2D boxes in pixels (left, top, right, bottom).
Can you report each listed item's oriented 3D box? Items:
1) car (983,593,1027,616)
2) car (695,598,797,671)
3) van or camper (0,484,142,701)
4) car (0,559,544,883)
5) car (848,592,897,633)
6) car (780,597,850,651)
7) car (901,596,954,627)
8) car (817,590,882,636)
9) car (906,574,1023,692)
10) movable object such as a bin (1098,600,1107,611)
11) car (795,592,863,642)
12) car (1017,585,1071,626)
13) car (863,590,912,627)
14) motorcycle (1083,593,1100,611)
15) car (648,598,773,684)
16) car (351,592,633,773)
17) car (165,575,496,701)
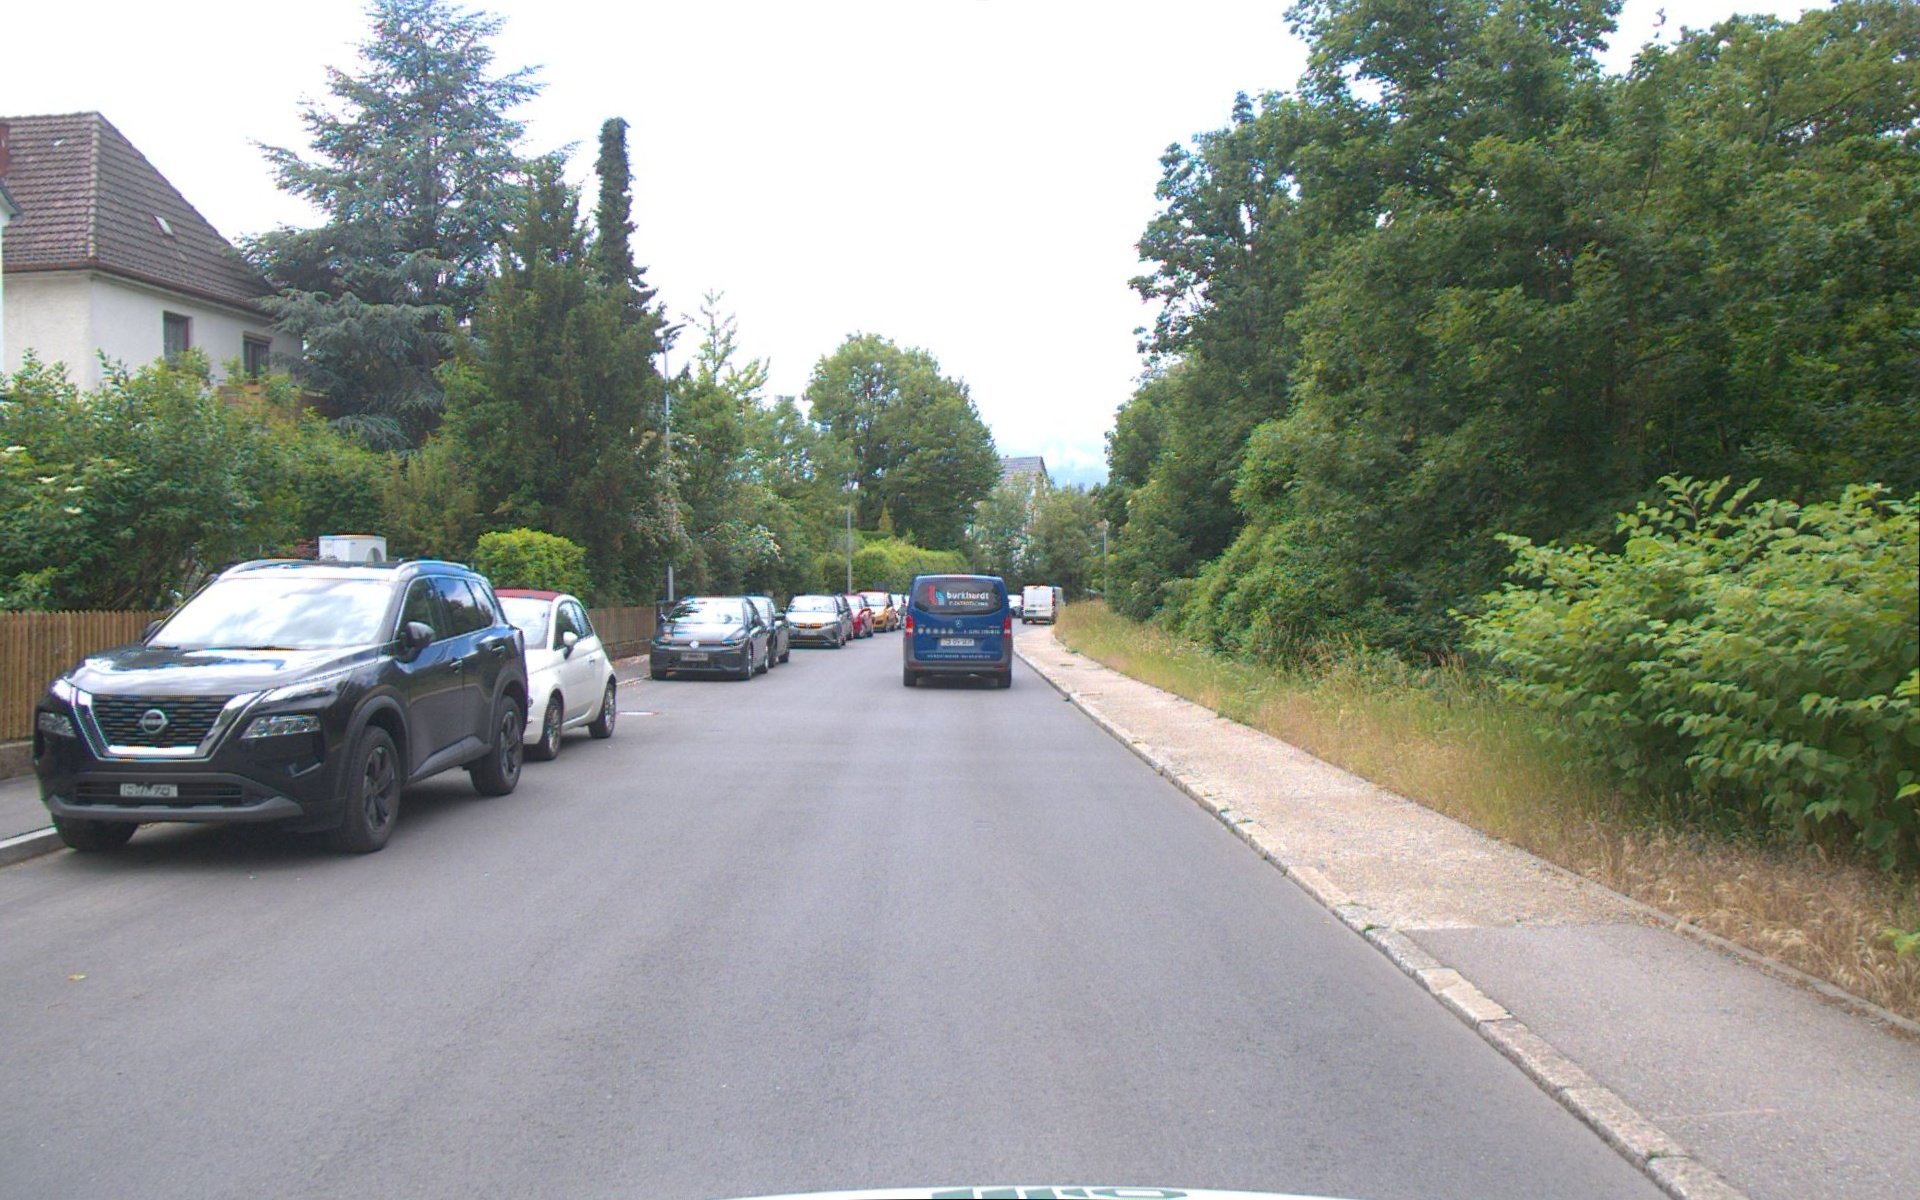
[{"bbox_3d":[2.825,0.251,102.867,1.792,1.398,4.448,1,0,15],"label":"car"},{"bbox_3d":[-4.478,0.691,35.085,1.672,1.441,4.131,0,0,-1],"label":"car"},{"bbox_3d":[-14.749,-0.191,22.196,6.537,2.697,2.326,2,0,9],"label":"van or camper"},{"bbox_3d":[-4.174,0.622,10.850,1.755,1.693,4.392,0,0,0],"label":"car"},{"bbox_3d":[-3.425,0.468,65.297,1.511,1.541,3.646,0,0,4],"label":"car"},{"bbox_3d":[-4.068,0.656,47.002,1.672,1.434,4.160,0,0,-1],"label":"car"},{"bbox_3d":[-1.514,0.512,78.026,1.681,1.409,4.667,0,0,9],"label":"car"},{"bbox_3d":[-3.816,0.432,57.723,1.671,1.541,4.366,0,0,4],"label":"car"},{"bbox_3d":[0.004,0.525,29.266,1.897,1.913,4.529,0,0,-2],"label":"car"},{"bbox_3d":[12.528,0.484,145.229,0.579,0.925,0.700,0,-1,24],"label":"movable object such as a bin"},{"bbox_3d":[-4.156,0.517,53.017,1.671,1.541,4.497,0,0,2],"label":"car"},{"bbox_3d":[4.512,0.282,87.900,2.159,2.100,6.140,0,0,9],"label":"car"},{"bbox_3d":[-3.031,0.340,69.923,1.554,1.541,3.593,0,0,6],"label":"car"},{"bbox_3d":[11.415,0.173,143.391,0.793,1.511,2.896,0,0,19],"label":"motorcycle"},{"bbox_3d":[-4.453,0.691,30.014,1.672,1.441,4.149,0,0,-1],"label":"car"},{"bbox_3d":[-4.398,0.699,16.146,1.672,1.538,3.945,0,0,-1],"label":"car"},{"bbox_3d":[-8.662,0.484,22.885,3.902,1.574,1.843,1,0,14],"label":"car"}]
